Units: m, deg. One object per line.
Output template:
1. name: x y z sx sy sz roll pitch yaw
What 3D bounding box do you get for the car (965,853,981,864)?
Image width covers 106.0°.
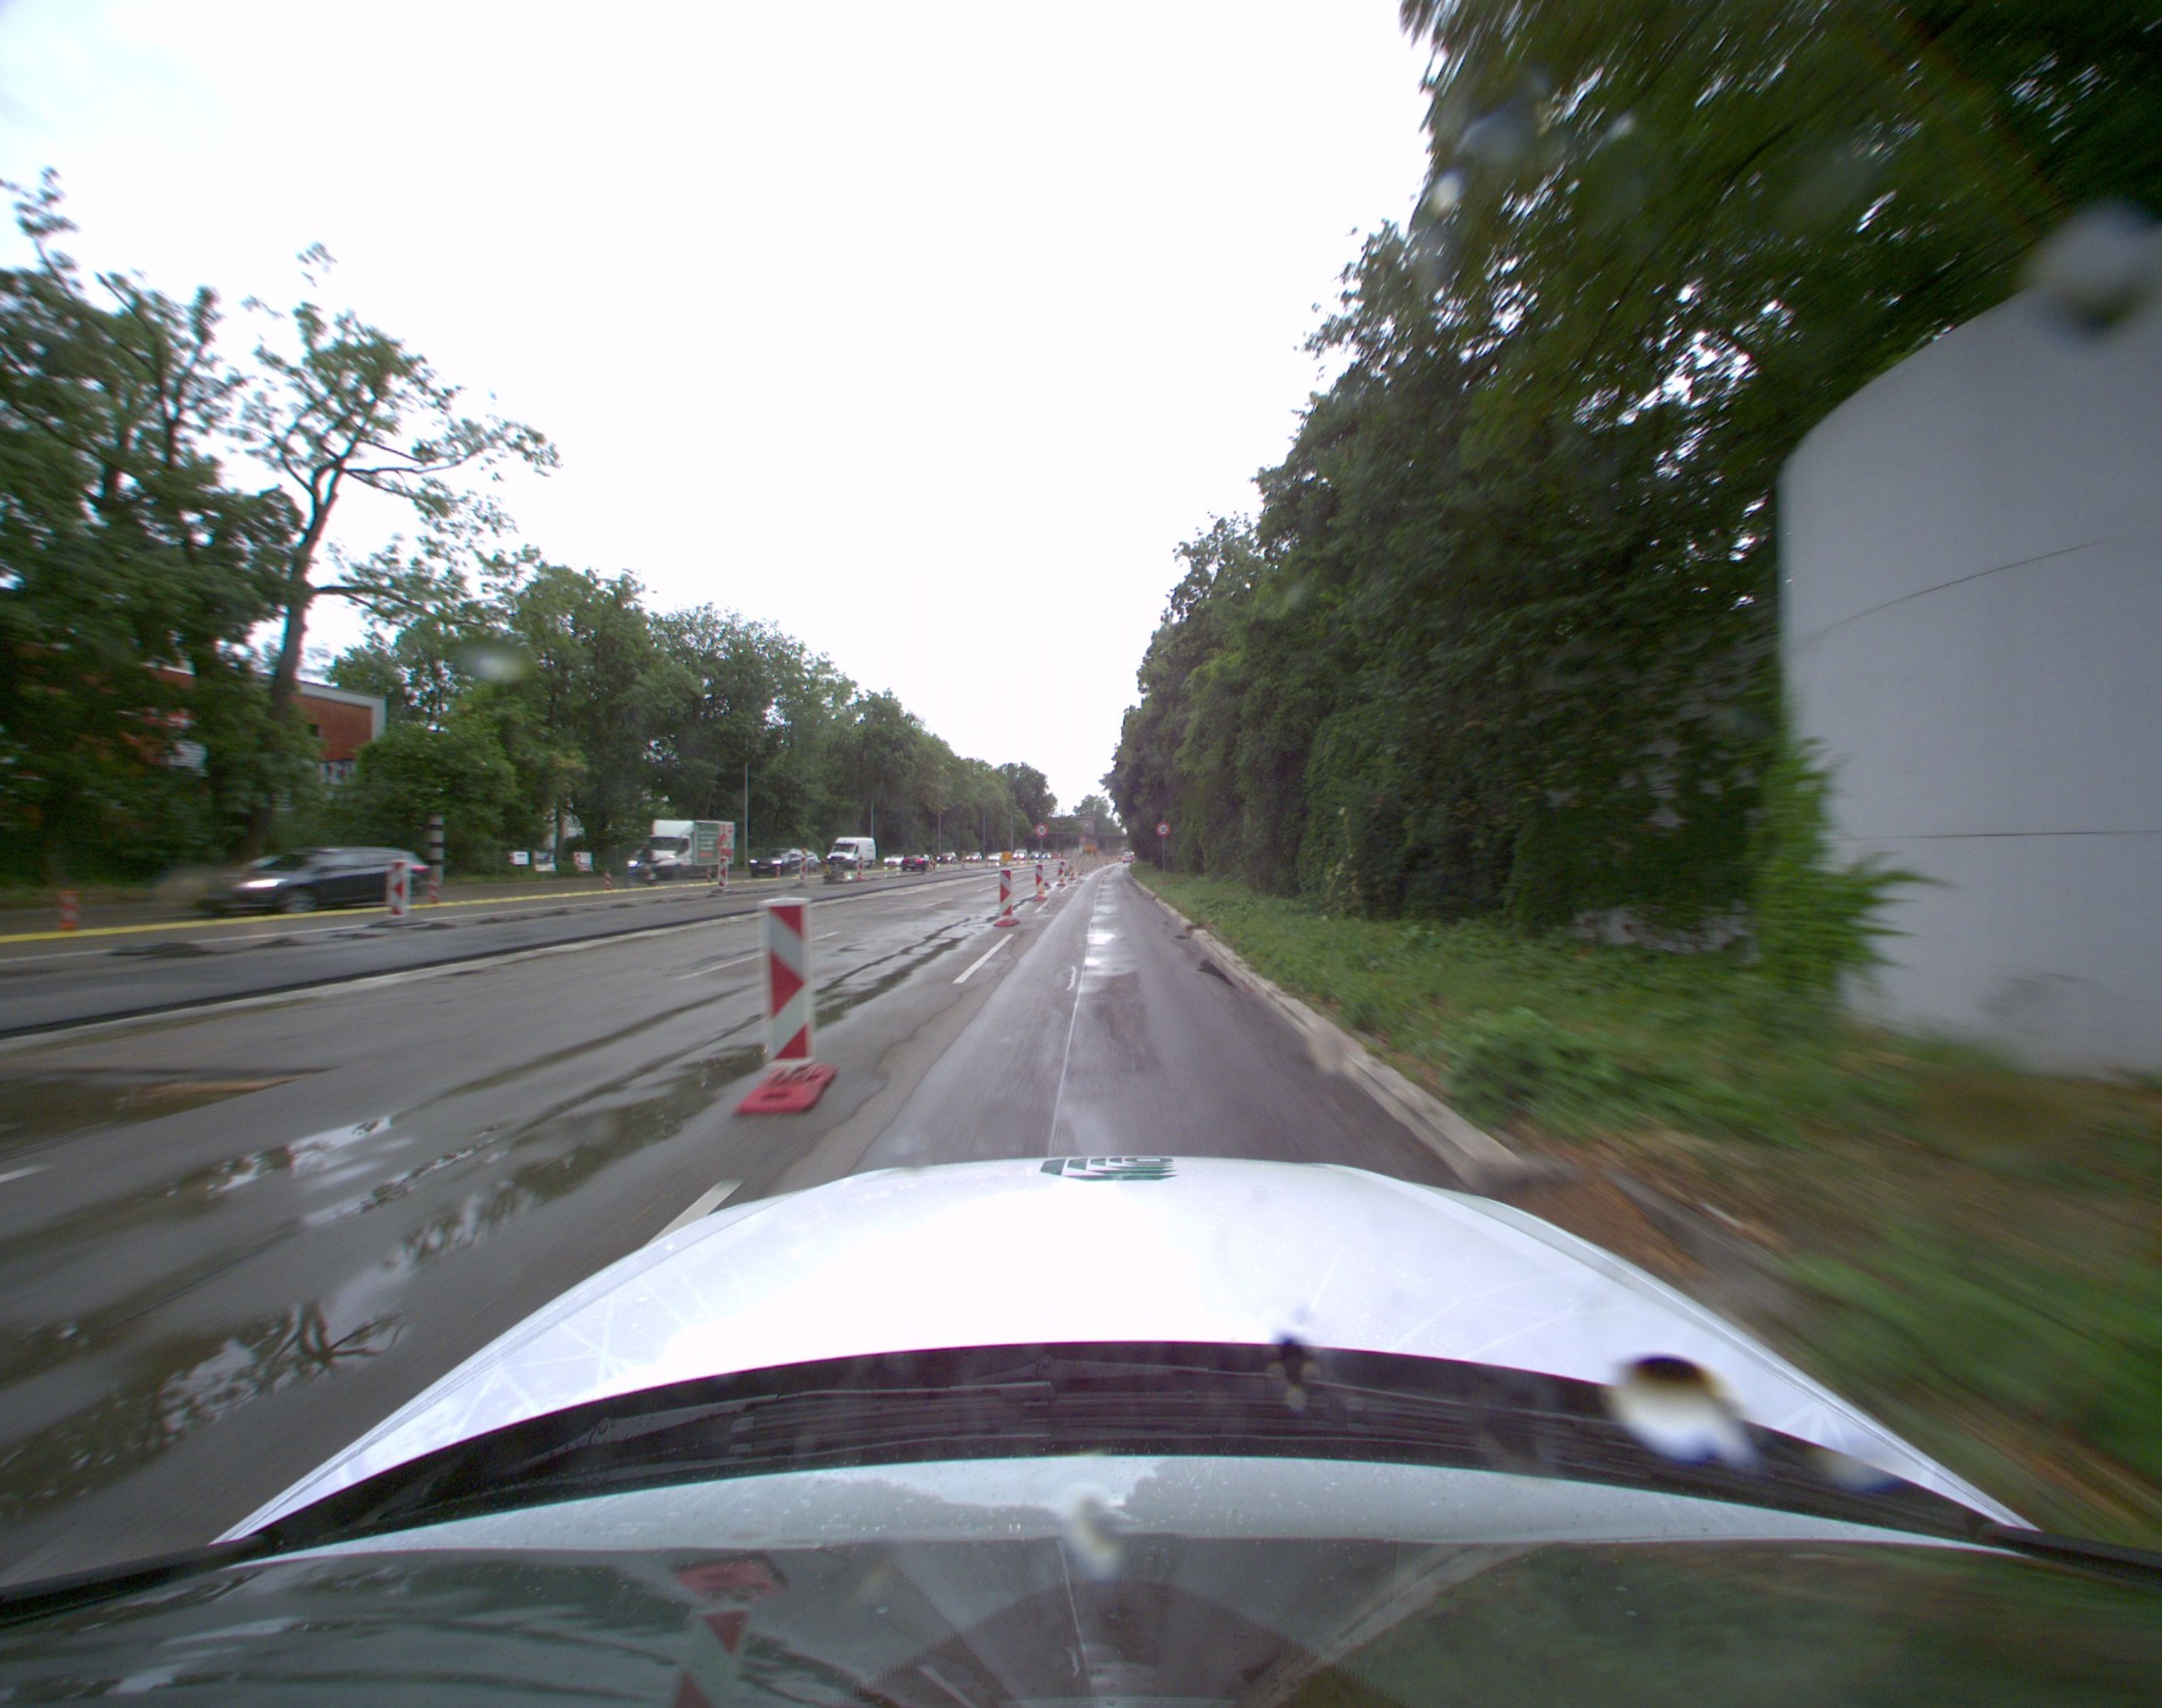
1. car: -15.795 0.662 119.235 1.663 1.486 4.052 0 0 3

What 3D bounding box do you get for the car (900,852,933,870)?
1. car: -13.008 0.533 64.660 1.601 1.404 4.044 0 0 3

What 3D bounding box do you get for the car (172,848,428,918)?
1. car: -17.599 0.579 18.708 1.664 1.415 4.320 0 0 1

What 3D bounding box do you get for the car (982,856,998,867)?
1. car: -13.001 1.013 116.621 1.663 1.486 4.323 0 0 3

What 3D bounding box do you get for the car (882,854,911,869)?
1. car: -18.126 0.735 80.212 1.663 1.486 4.323 0 0 3

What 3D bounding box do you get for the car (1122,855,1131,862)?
1. car: 8.604 0.819 153.630 1.690 1.336 3.494 -2 0 3

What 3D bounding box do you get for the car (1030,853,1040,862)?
1. car: -9.046 0.720 160.534 1.663 1.809 4.323 0 0 3

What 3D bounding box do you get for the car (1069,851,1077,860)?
1. car: -1.773 0.309 180.676 1.663 1.808 4.324 0 1 3

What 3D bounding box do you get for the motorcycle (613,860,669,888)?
1. motorcycle: -17.088 0.754 31.690 0.825 1.014 2.367 1 0 2

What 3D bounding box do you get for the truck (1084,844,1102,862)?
1. truck: 2.468 -0.184 158.359 3.247 3.497 13.876 0 0 2

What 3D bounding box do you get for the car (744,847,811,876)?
1. car: -16.984 0.399 45.841 1.952 1.531 4.440 0 0 3

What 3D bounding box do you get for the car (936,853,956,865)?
1. car: -17.129 0.602 103.421 1.663 1.486 4.323 0 0 3

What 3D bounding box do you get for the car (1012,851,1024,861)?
1. car: -10.823 0.362 140.283 1.663 1.809 4.323 0 0 3

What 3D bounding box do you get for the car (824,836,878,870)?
1. car: -18.662 -0.069 66.424 2.091 2.580 6.858 0 0 3

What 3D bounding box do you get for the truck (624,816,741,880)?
1. truck: -19.934 -0.284 41.253 2.237 2.940 6.940 0 0 3

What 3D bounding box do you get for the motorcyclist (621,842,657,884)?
1. motorcyclist: -17.088 0.346 31.492 0.825 1.564 0.927 1 0 1
